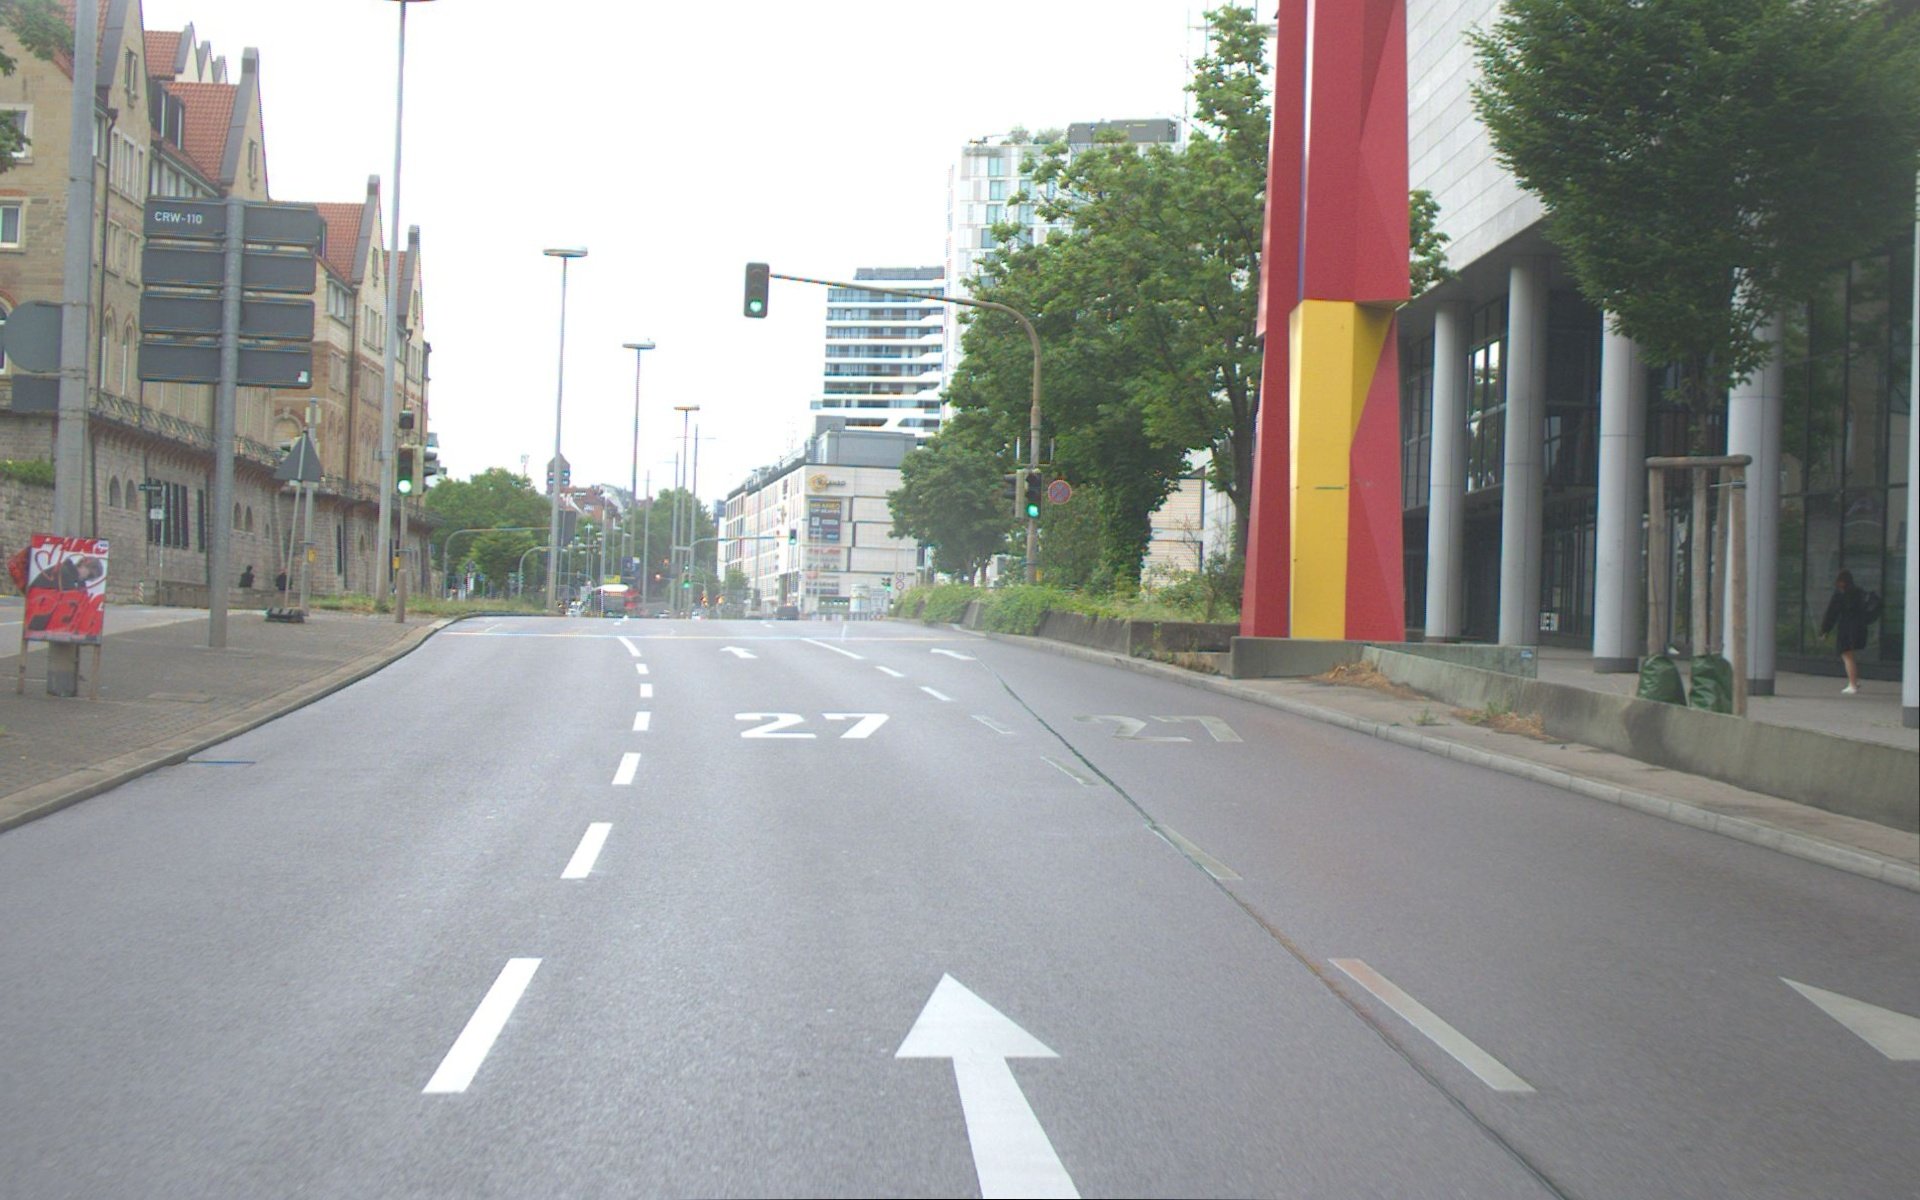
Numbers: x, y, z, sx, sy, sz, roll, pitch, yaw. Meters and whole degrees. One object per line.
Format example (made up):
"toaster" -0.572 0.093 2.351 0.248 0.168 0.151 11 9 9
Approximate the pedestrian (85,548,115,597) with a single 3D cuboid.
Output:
"pedestrian" -25.959 -0.827 103.762 0.754 1.473 0.714 1 1 -2

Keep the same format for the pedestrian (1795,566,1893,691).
"pedestrian" 11.382 0.364 44.284 0.970 1.581 0.842 1 1 -6

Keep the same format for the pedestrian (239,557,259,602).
"pedestrian" -27.587 -0.797 133.401 0.640 1.740 0.621 1 1 -4
